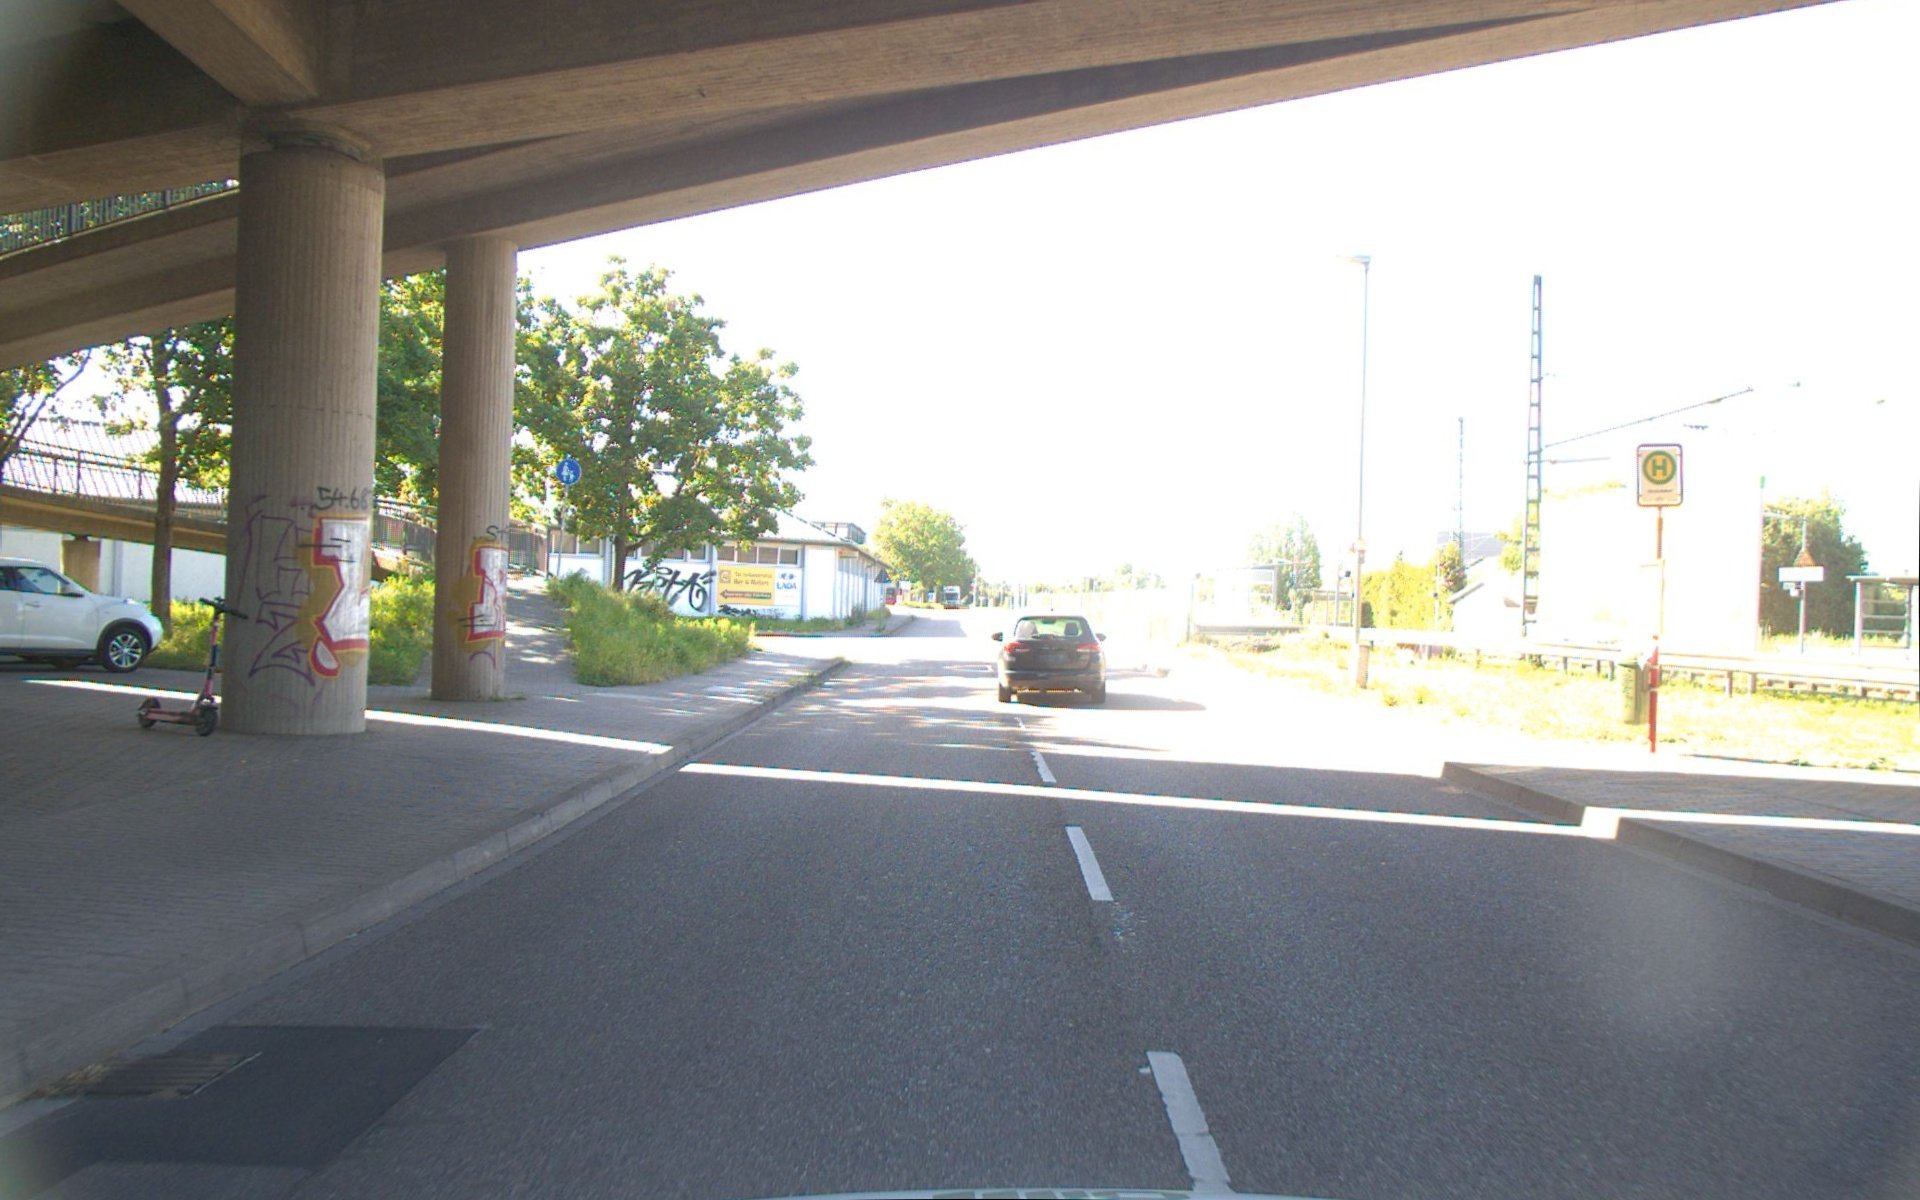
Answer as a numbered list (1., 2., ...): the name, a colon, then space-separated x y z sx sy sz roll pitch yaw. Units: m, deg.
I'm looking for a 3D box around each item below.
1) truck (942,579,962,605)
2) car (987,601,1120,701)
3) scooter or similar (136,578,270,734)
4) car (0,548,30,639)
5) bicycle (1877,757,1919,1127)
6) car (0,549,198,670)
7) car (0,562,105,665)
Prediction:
1. truck: -1.266 -1.234 262.799 2.560 3.953 13.526 3 0 -2
2. car: 1.463 0.781 27.506 1.903 1.515 4.564 1 0 -1
3. scooter or similar: -6.840 0.485 14.935 1.285 1.323 0.576 2 0 40
4. car: -18.191 -0.157 27.726 1.647 1.579 4.291 1 0 29
5. bicycle: 3.266 1.033 4.011 0.823 1.070 2.189 1 0 -1
6. car: -13.526 0.148 23.902 1.830 1.670 4.269 -2 -1 33
7. car: -15.644 0.185 25.374 1.647 1.579 4.291 1 0 29
